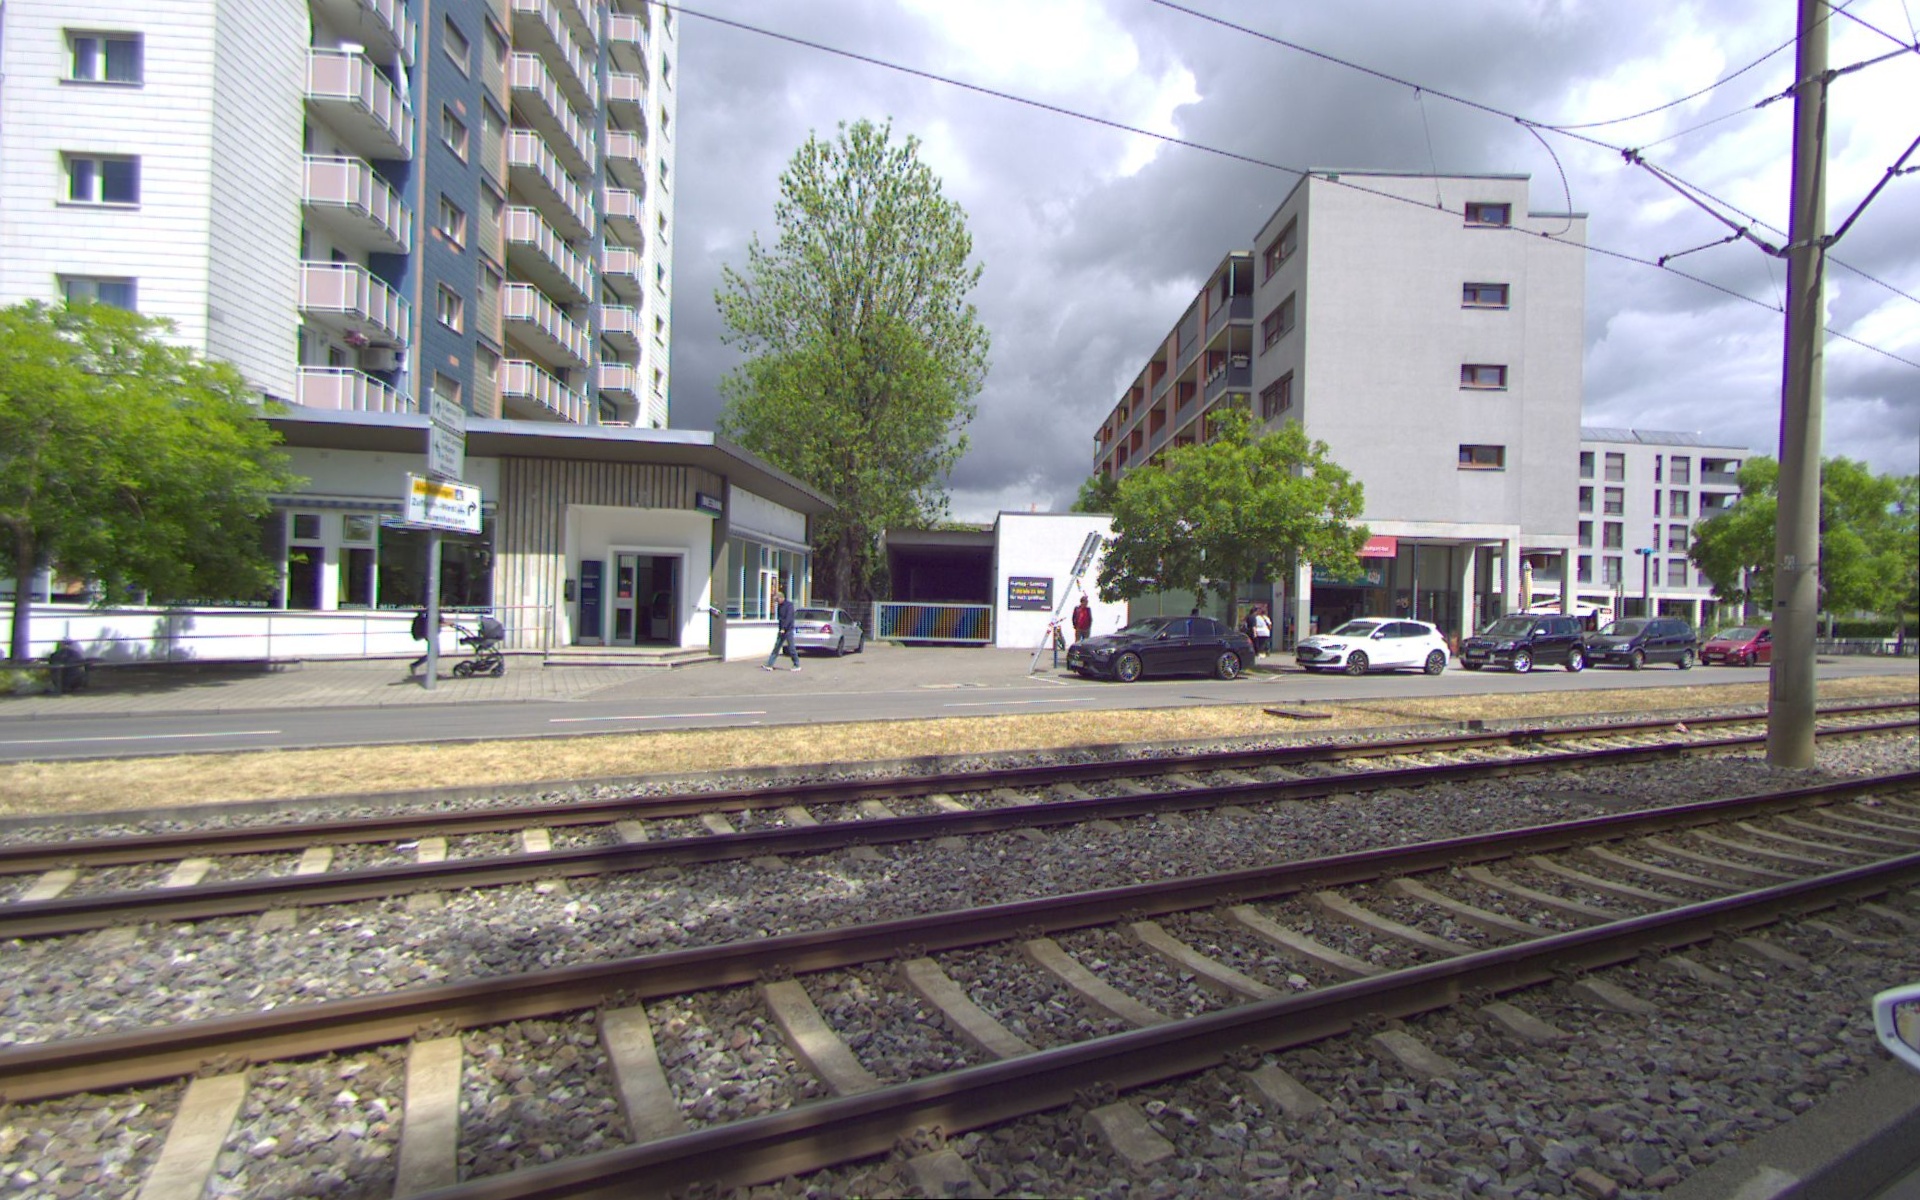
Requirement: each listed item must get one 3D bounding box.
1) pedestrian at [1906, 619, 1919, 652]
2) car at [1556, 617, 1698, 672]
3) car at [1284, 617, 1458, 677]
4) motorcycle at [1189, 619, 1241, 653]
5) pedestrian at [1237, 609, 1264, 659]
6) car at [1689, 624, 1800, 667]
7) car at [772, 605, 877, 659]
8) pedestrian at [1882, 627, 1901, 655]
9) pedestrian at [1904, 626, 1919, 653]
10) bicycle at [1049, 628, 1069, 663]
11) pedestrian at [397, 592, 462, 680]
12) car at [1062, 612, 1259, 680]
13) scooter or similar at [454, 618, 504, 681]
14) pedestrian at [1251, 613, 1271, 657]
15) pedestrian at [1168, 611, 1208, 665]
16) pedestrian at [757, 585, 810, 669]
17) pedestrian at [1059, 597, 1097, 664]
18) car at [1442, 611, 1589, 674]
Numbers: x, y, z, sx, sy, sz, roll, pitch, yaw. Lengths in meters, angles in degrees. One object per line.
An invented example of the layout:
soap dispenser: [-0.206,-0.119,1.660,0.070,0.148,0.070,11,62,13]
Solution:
pedestrian: [46.519,1.737,48.721,0.686,1.594,0.622,0,-1,-16]
car: [21.388,1.381,32.210,4.044,1.670,1.988,0,-1,-25]
car: [10.923,1.213,26.703,4.336,1.495,1.751,0,-1,-23]
motorcycle: [9.206,1.292,36.323,0.733,1.194,1.883,0,-1,-29]
pedestrian: [9.422,1.100,32.616,0.654,1.594,0.686,-1,-1,35]
car: [27.569,1.559,35.303,3.372,1.445,1.611,0,-1,-22]
car: [-3.894,0.929,29.604,1.959,1.462,4.359,0,-1,8]
pedestrian: [51.894,2.264,55.945,0.519,1.568,0.545,0,-1,-7]
pedestrian: [45.482,1.887,47.970,0.493,1.283,0.498,-1,-1,39]
bicycle: [3.593,1.625,36.431,0.656,1.228,1.974,0,-1,4]
pedestrian: [-9.820,0.651,18.611,0.970,1.592,0.513,0,1,-18]
car: [4.677,1.034,23.323,4.321,1.447,1.729,1,-1,-26]
scooter or similar: [-9.017,0.908,18.864,0.757,1.139,0.579,0,1,-17]
pedestrian: [10.163,1.184,33.935,0.491,1.479,0.559,-1,-1,35]
pedestrian: [6.676,1.094,29.388,0.957,1.554,0.601,0,-1,-15]
pedestrian: [-3.949,0.596,22.445,0.832,1.816,0.868,-1,-1,45]
pedestrian: [3.248,0.825,27.726,0.833,1.816,0.609,0,-1,-28]
car: [16.321,1.200,29.494,4.051,1.685,1.984,0,0,-30]
